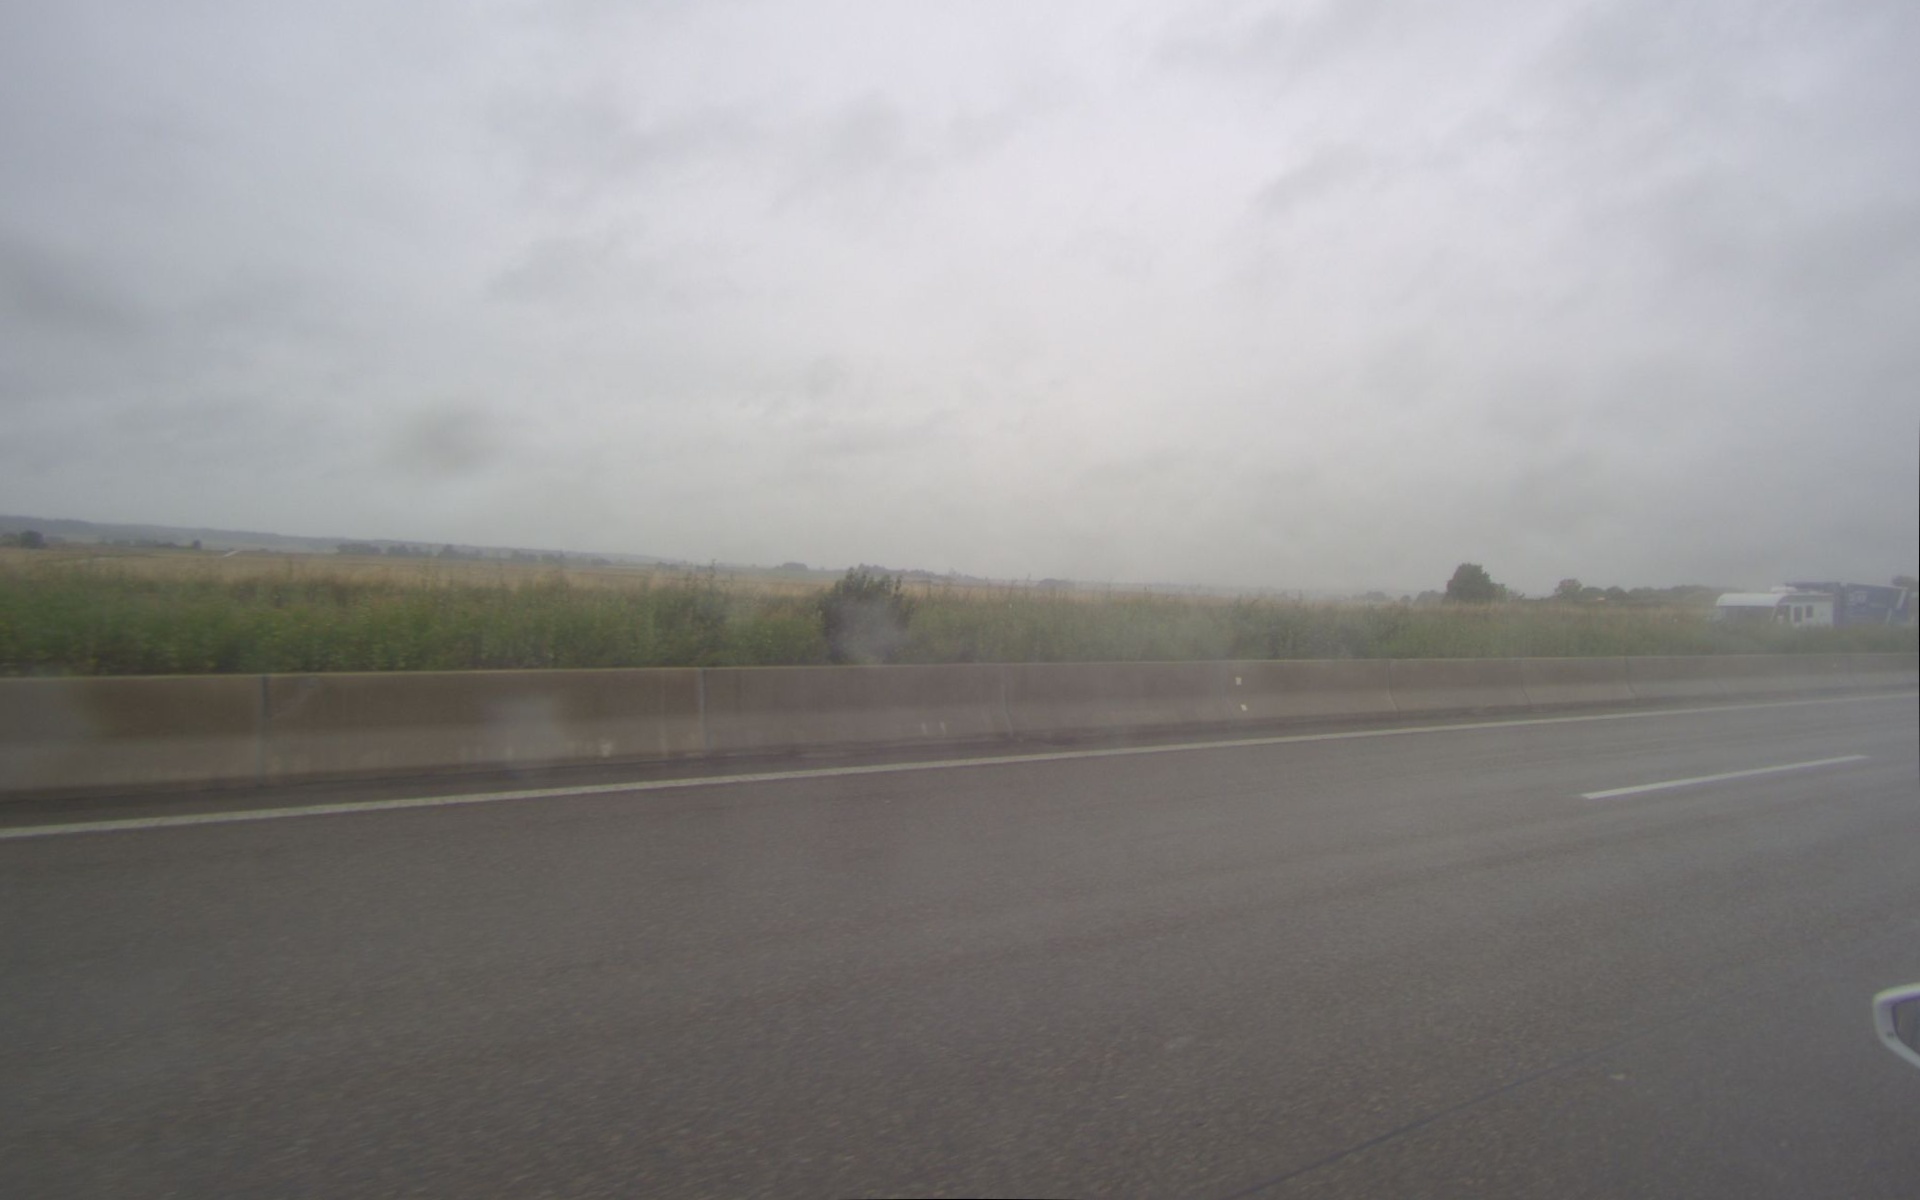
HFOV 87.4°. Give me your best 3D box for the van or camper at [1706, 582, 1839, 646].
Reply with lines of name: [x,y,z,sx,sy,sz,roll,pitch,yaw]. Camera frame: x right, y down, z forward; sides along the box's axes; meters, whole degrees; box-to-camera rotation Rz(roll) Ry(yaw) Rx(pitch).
van or camper: [34.554,0.591,42.651,6.682,2.542,2.360,1,1,-33]
